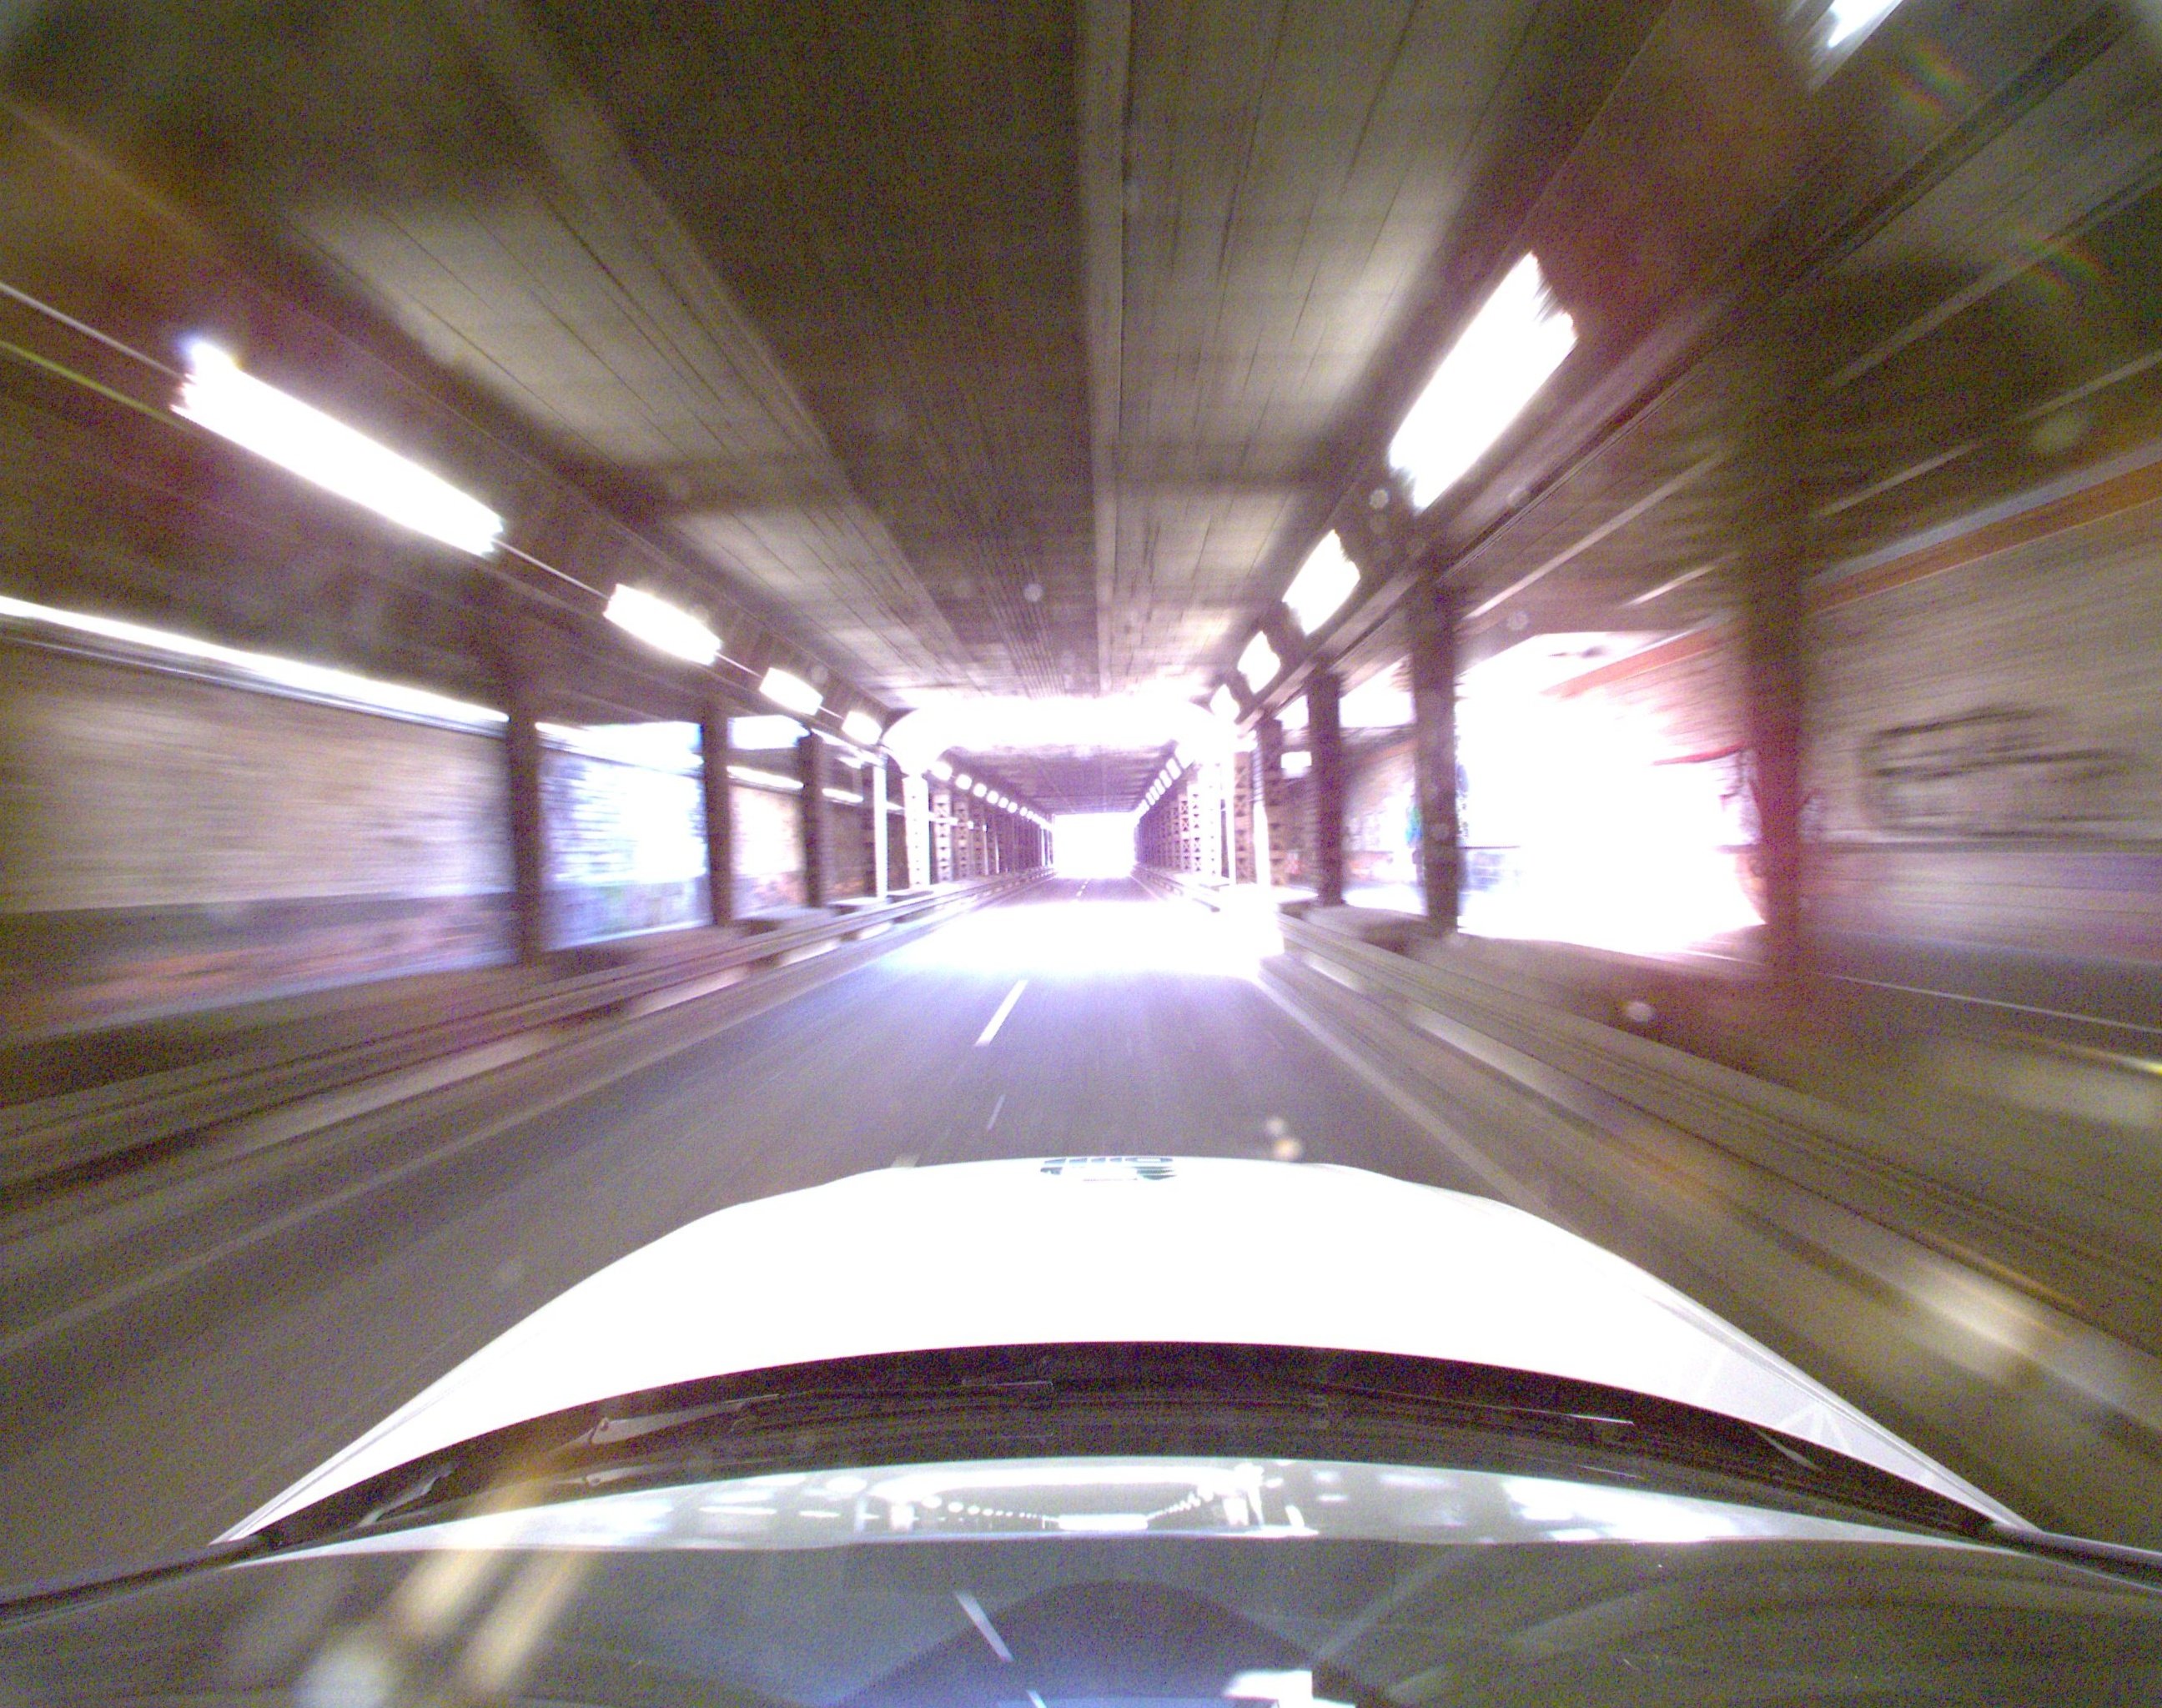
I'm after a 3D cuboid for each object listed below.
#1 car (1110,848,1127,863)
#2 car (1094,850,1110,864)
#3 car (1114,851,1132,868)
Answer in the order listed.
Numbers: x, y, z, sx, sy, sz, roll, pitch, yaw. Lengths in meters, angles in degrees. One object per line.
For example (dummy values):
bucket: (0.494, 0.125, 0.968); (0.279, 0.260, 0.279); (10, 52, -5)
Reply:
car: (4.739, 0.226, 103.723); (1.986, 1.784, 4.002); (-3, 0, 2)
car: (2.899, 0.422, 111.293); (1.986, 1.784, 4.002); (-3, 0, 2)
car: (4.794, 0.603, 93.377); (1.986, 1.784, 4.002); (-3, 0, 2)
